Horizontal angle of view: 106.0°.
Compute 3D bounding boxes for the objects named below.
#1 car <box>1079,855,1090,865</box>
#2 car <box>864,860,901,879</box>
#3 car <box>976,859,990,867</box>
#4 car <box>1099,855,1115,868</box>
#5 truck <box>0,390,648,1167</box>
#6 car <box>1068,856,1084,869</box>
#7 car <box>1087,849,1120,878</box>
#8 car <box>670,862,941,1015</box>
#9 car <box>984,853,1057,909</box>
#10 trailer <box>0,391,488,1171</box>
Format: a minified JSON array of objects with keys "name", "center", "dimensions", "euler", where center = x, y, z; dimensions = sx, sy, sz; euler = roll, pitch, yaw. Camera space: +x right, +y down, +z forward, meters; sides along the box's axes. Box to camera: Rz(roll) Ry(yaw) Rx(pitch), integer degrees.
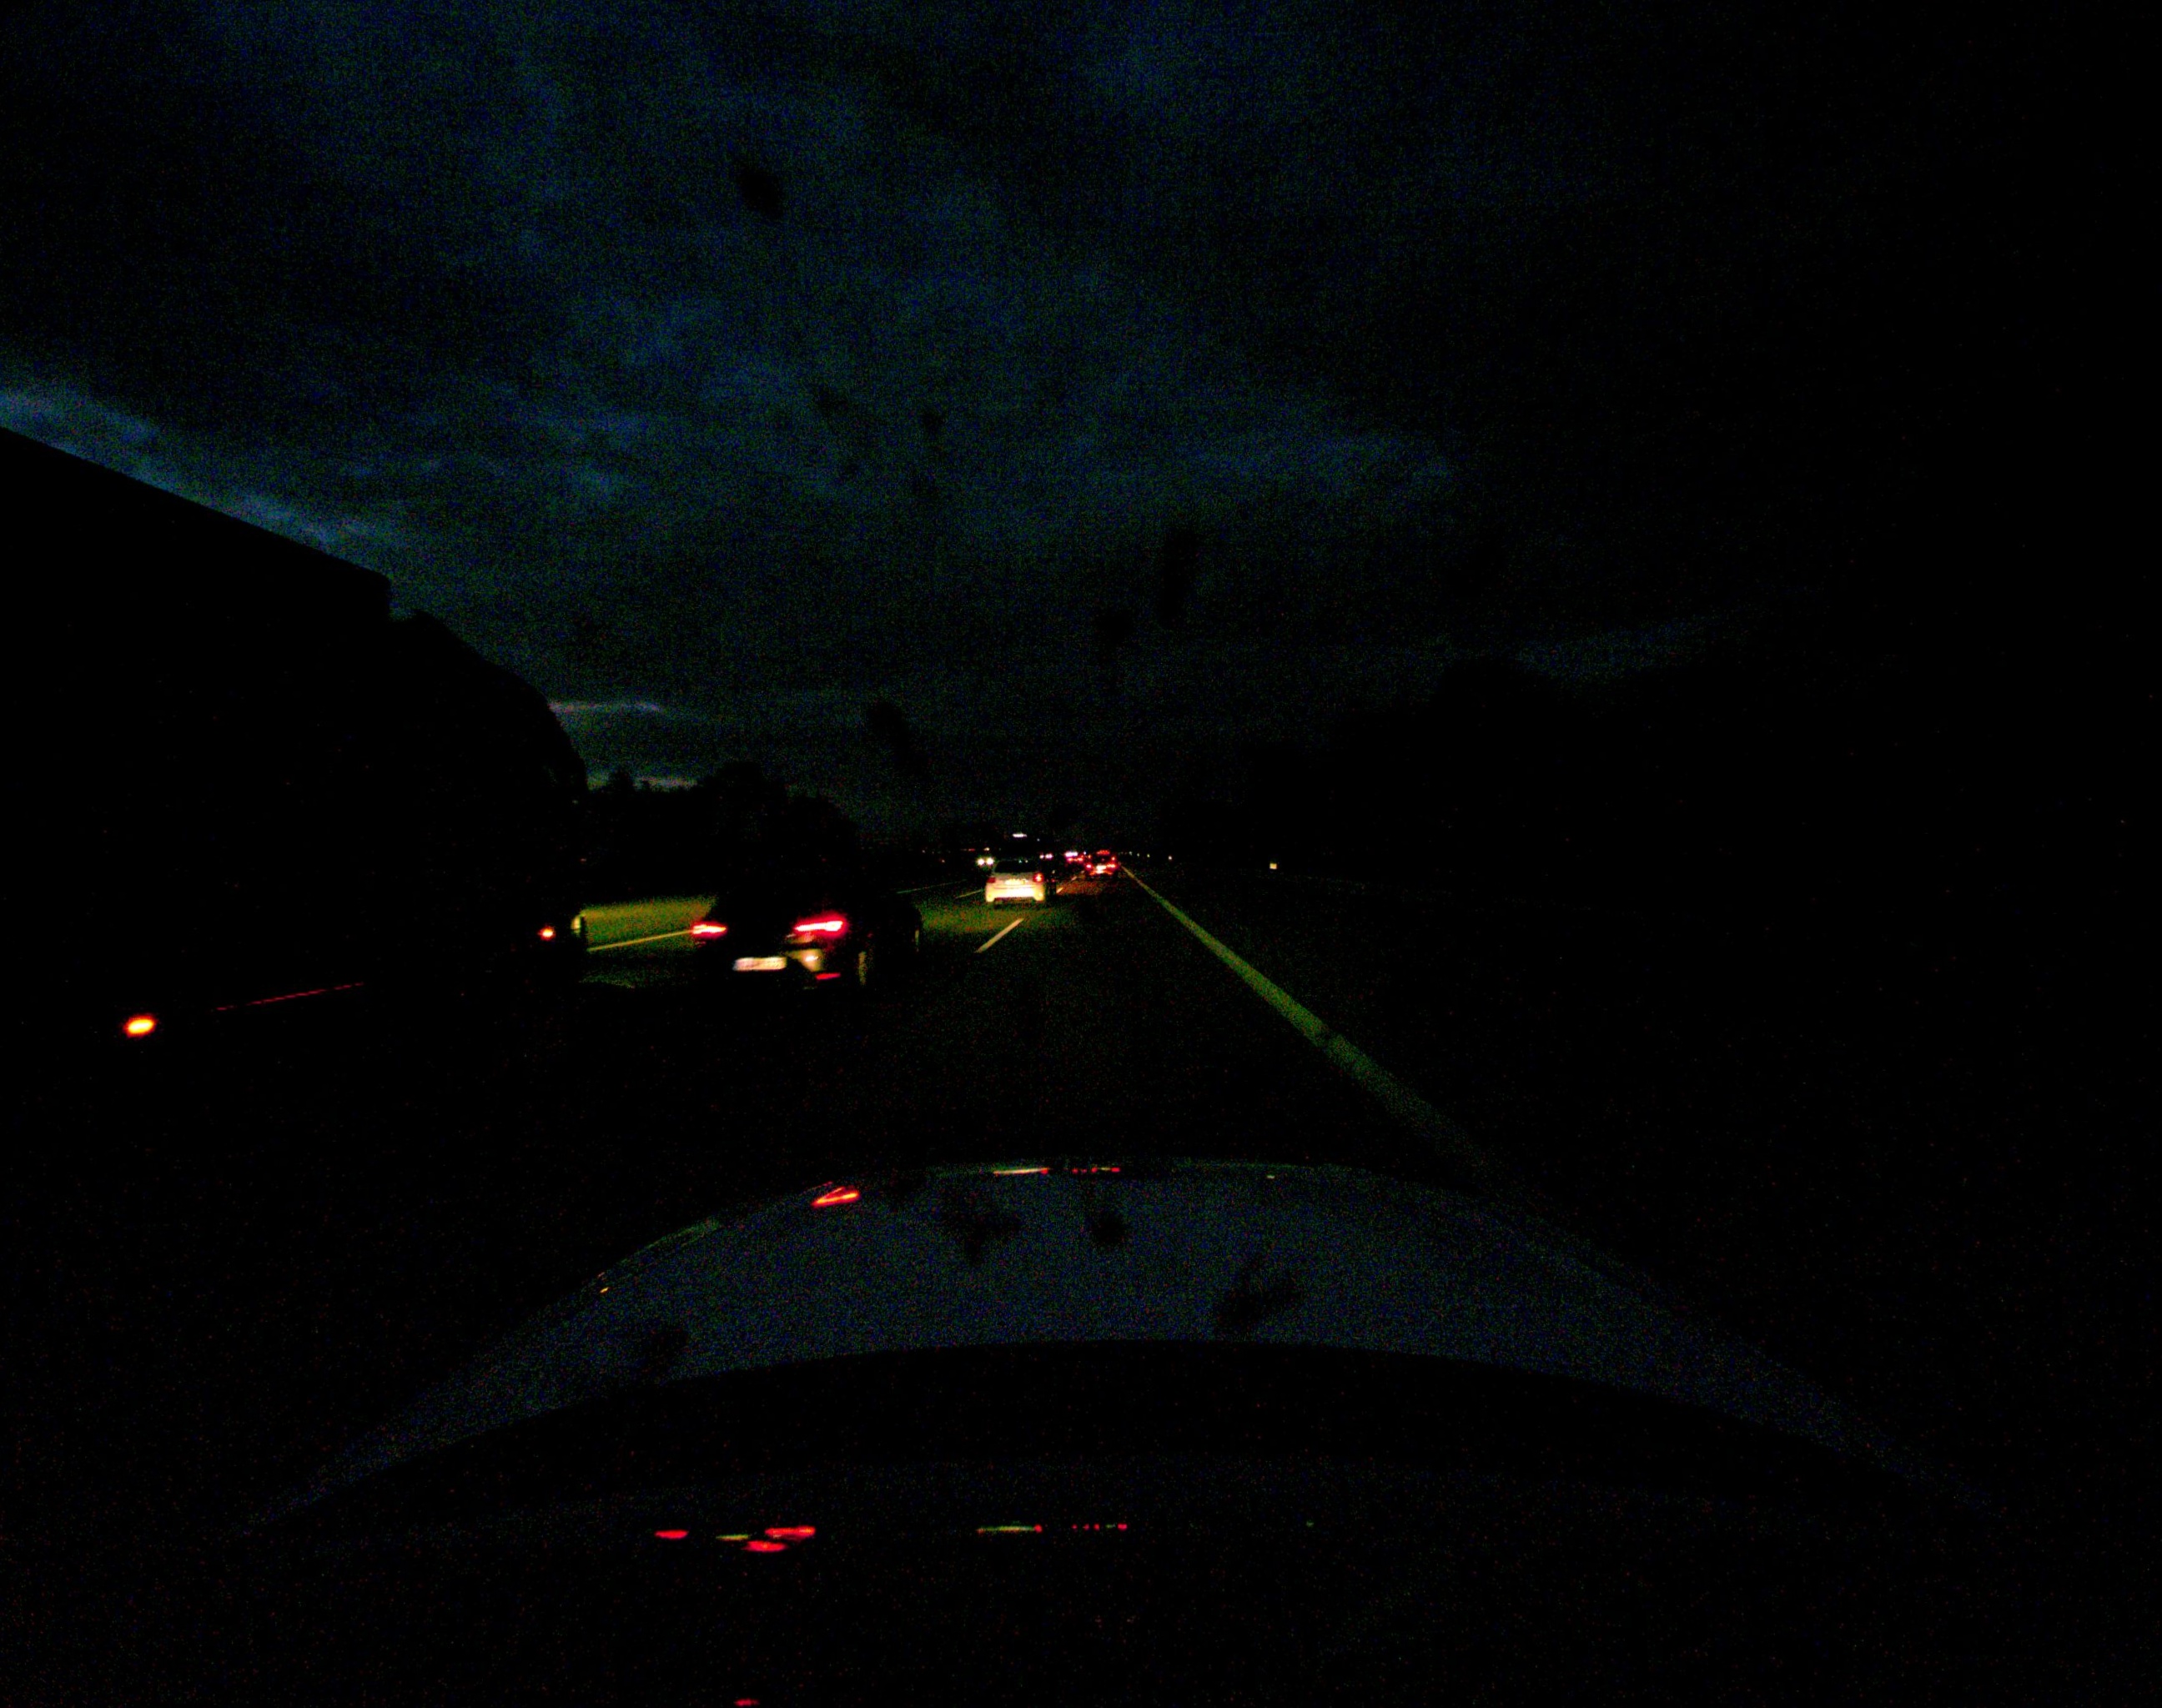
[{"name":"car","center":[0.718,1.208,159.138],"dimensions":[2.191,1.879,4.001],"euler":[-1,-1,1]},{"name":"car","center":[-14.080,1.104,57.864],"dimensions":[1.648,1.289,3.646],"euler":[-1,-1,1]},{"name":"car","center":[-15.570,1.412,129.550],"dimensions":[1.738,1.362,4.112],"euler":[-1,-1,1]},{"name":"car","center":[3.195,0.935,101.078],"dimensions":[1.874,1.552,4.000],"euler":[-1,-1,1]},{"name":"truck","center":[-6.956,-0.352,7.152],"dimensions":[2.767,4.093,6.105],"euler":[-2,-1,2]},{"name":"car","center":[-0.573,1.085,101.320],"dimensions":[1.874,1.552,4.000],"euler":[-1,-1,1]},{"name":"car","center":[1.324,0.543,48.284],"dimensions":[1.873,1.643,4.001],"euler":[-1,-1,1]},{"name":"car","center":[-3.099,0.846,10.307],"dimensions":[1.716,1.471,4.727],"euler":[-1,-1,1]},{"name":"car","center":[-1.743,0.764,24.779],"dimensions":[1.737,1.525,4.416],"euler":[-1,-1,2]},{"name":"trailer","center":[-7.188,-0.394,0.304],"dimensions":[2.783,4.085,14.532],"euler":[-2,-1,2]}]
